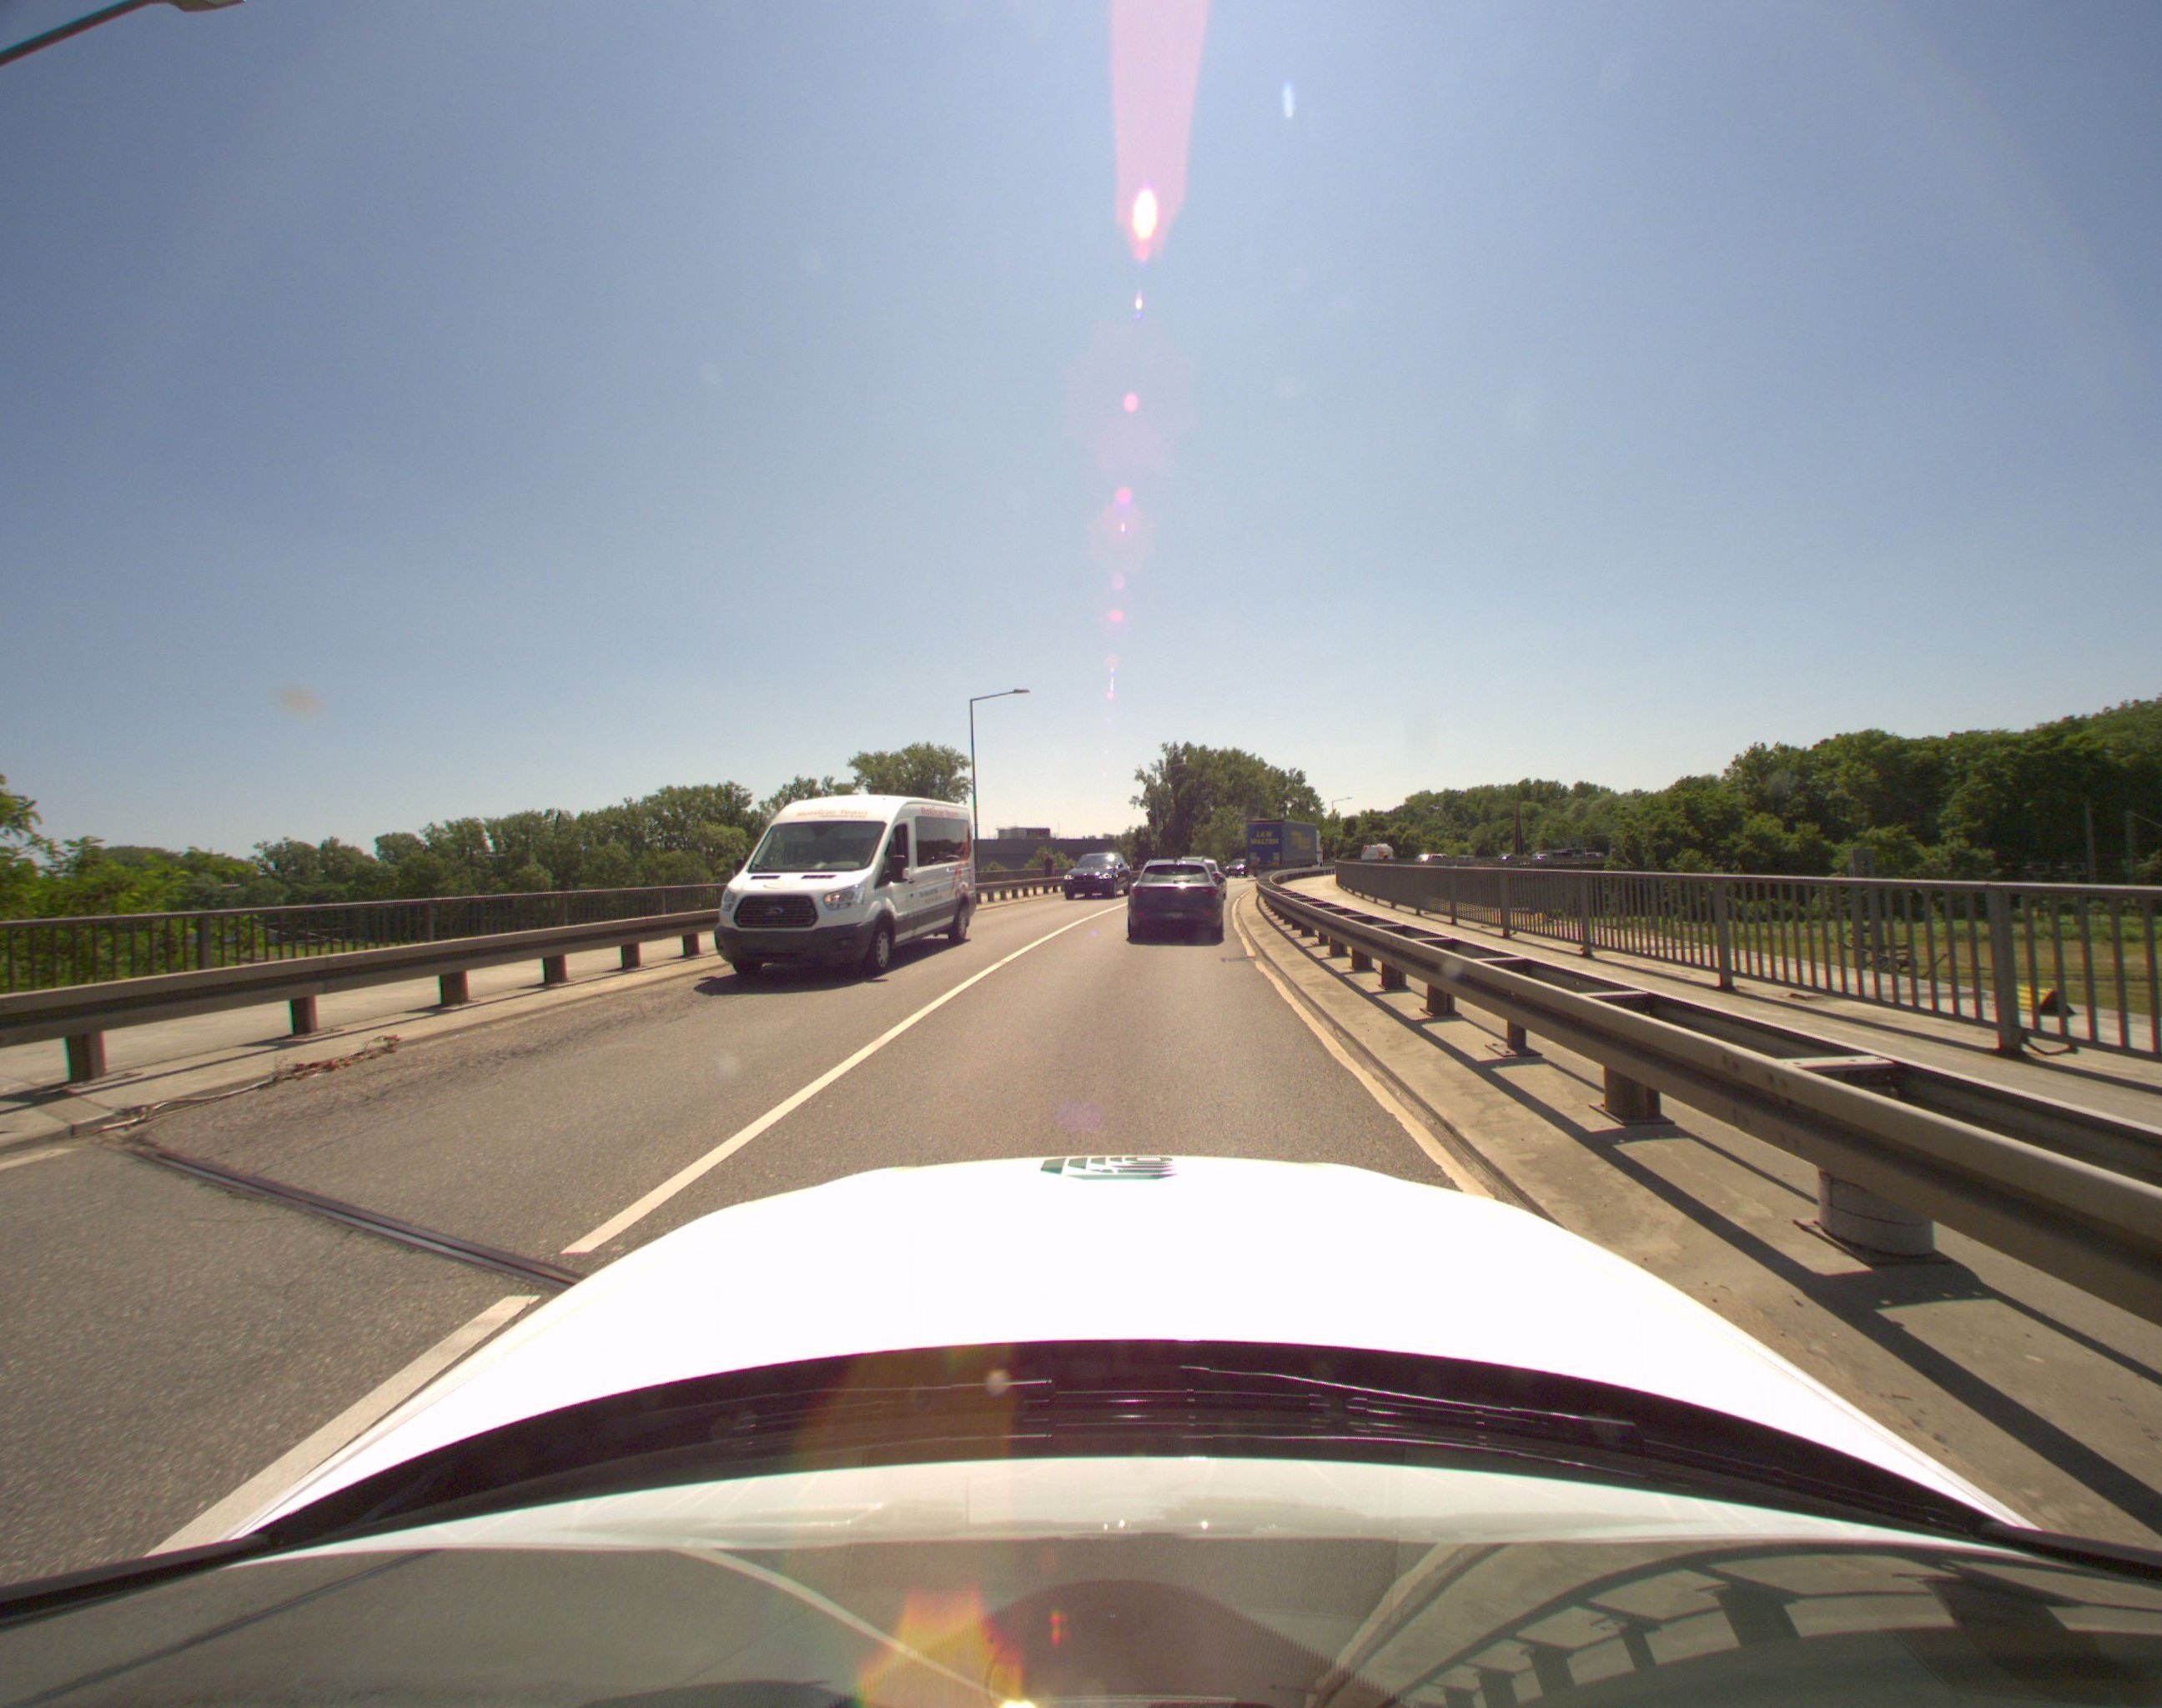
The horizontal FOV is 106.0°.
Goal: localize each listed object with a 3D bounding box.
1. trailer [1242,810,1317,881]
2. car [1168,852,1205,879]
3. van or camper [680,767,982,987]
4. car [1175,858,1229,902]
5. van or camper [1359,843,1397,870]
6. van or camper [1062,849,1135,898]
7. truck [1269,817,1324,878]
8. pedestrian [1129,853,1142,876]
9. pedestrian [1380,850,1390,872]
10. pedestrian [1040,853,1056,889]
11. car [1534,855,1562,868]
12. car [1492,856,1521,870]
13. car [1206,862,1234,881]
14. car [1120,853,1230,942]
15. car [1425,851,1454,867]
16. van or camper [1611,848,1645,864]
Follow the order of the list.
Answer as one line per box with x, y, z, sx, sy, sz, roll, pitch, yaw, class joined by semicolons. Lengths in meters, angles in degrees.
14.727;-0.487;59.420;3.106;4.614;13.019;0;-1;24;trailer
6.914;0.781;53.100;1.882;1.655;4.272;-1;-2;13;car
-3.301;0.266;12.432;2.036;2.537;5.897;-1;0;8;van or camper
4.385;0.875;29.184;1.582;1.461;3.557;0;0;13;car
31.583;0.246;86.404;2.181;2.711;5.963;-1;0;36;van or camper
0.781;0.762;32.360;1.980;1.761;4.713;-2;-1;12;van or camper
17.436;-0.419;65.529;3.141;4.585;7.438;0;-1;24;truck
3.732;0.716;55.664;0.708;1.562;0.698;-3;-2;21;pedestrian
26.945;0.631;72.205;0.729;1.967;0.739;-1;-1;33;pedestrian
-1.652;0.862;40.803;0.634;1.782;0.814;0;-1;13;pedestrian
67.558;1.118;117.864;4.015;1.850;1.875;1;-1;-33;car
58.774;1.234;112.567;4.016;1.850;1.875;1;-1;-34;car
11.352;1.402;66.277;1.775;1.419;3.789;-2;-2;16;car
1.761;0.741;15.733;1.837;1.499;3.763;-1;0;5;car
43.424;0.628;98.611;1.871;1.850;4.023;-1;-1;44;car
90.735;0.356;135.043;4.965;2.293;2.472;5;-3;-24;van or camper
